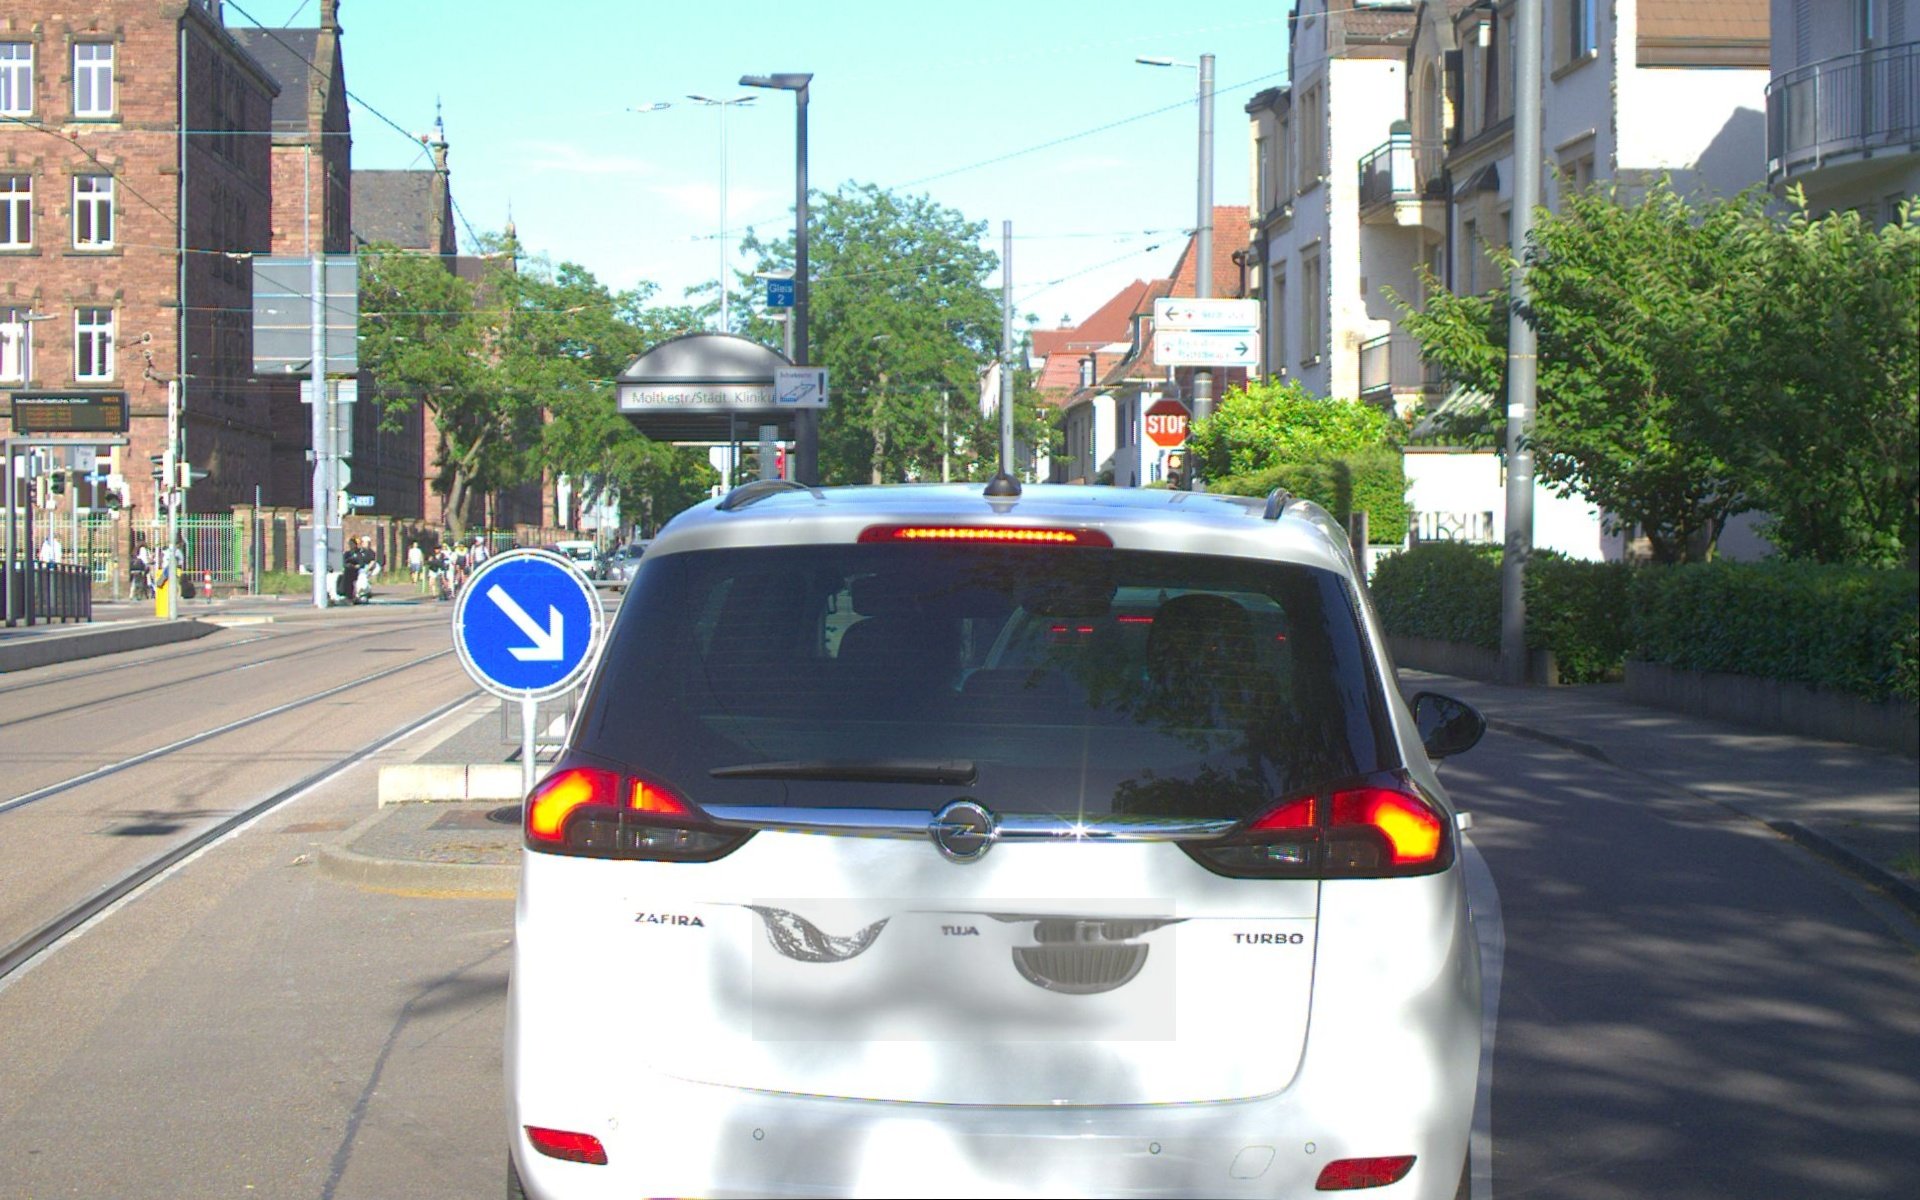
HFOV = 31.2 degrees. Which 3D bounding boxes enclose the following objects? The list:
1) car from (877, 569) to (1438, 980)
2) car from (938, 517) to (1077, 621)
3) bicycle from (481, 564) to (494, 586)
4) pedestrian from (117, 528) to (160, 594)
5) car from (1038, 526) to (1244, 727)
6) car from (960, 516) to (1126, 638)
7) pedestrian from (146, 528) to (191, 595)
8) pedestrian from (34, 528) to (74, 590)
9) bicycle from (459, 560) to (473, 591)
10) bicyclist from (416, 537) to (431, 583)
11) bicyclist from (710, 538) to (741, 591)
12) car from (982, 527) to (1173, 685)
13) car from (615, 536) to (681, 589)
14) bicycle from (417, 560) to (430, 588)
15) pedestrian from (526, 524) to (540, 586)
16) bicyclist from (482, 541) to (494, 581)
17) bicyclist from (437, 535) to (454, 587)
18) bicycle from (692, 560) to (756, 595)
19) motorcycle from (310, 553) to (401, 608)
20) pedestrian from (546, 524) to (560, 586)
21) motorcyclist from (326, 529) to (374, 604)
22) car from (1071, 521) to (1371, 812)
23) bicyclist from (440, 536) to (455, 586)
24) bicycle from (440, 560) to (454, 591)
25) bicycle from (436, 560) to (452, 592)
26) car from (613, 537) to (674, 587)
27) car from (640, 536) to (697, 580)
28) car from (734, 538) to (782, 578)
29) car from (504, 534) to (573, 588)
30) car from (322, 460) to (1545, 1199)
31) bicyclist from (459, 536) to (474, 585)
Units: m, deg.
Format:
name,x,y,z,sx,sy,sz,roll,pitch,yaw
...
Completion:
name,x,y,z,sx,sy,sz,roll,pitch,yaw
car,0.749,0.589,13.993,1.953,1.392,4.000,0,1,2
car,0.672,-0.487,51.770,1.993,1.497,4.000,0,1,-1
bicycle,-15.342,-0.816,111.679,0.344,0.722,0.997,1,1,-4
pedestrian,-21.154,-1.001,88.560,0.843,1.686,1.029,1,0,-1
car,1.498,0.179,29.266,1.637,1.595,3.854,0,1,2
car,1.025,-0.318,44.310,1.993,1.497,4.000,0,1,-1
pedestrian,-20.150,-0.984,87.579,0.895,1.678,1.029,1,0,-1
pedestrian,-23.234,-1.055,88.196,0.802,1.583,0.935,1,0,-3
bicycle,-15.689,-0.779,109.176,0.344,0.946,0.997,1,0,-4
bicyclist,-17.972,-1.336,115.107,0.444,1.548,0.496,0,1,-4
bicyclist,-6.364,-0.961,93.371,0.759,1.425,0.516,1,0,6
car,1.181,0.025,36.190,1.830,1.574,4.010,0,1,-1
car,-9.727,-1.188,107.321,1.993,1.623,4.001,0,1,-5
bicycle,-17.977,-0.871,115.151,0.344,0.946,0.997,1,0,-4
pedestrian,-13.898,-1.477,111.947,0.444,2.007,0.496,0,1,-4
bicyclist,-15.340,-1.279,111.669,0.359,1.299,0.398,0,1,-4
bicyclist,-15.466,-1.183,103.294,0.444,1.548,0.743,0,1,-4
bicycle,-6.420,-0.617,93.382,1.670,0.949,0.529,0,1,6
motorcycle,-13.232,-0.436,75.316,0.613,1.194,2.071,1,1,38
pedestrian,-13.284,-1.471,112.265,0.444,2.007,0.496,0,1,-4
motorcyclist,-13.344,-0.733,75.168,0.615,1.616,0.843,1,1,39
car,1.497,0.331,20.838,1.637,1.595,3.854,0,1,2
bicyclist,-15.884,-1.221,106.577,0.444,1.548,0.496,0,1,-4
bicycle,-15.920,-0.757,106.626,0.344,0.946,0.997,1,0,-4
bicycle,-15.474,-0.715,103.094,0.344,0.946,1.160,1,0,-4
car,-10.524,-1.271,114.428,1.993,1.623,4.001,0,1,-5
car,-11.070,-1.615,130.664,1.993,1.623,4.001,0,1,-2
car,-8.430,-1.761,143.385,1.993,1.623,4.001,0,1,-4
car,-13.108,-1.225,107.098,1.993,1.623,4.001,0,1,-5
car,0.140,0.583,7.613,1.994,1.639,3.992,1,1,6
bicyclist,-15.680,-1.244,109.161,0.444,1.548,0.496,0,1,-4
